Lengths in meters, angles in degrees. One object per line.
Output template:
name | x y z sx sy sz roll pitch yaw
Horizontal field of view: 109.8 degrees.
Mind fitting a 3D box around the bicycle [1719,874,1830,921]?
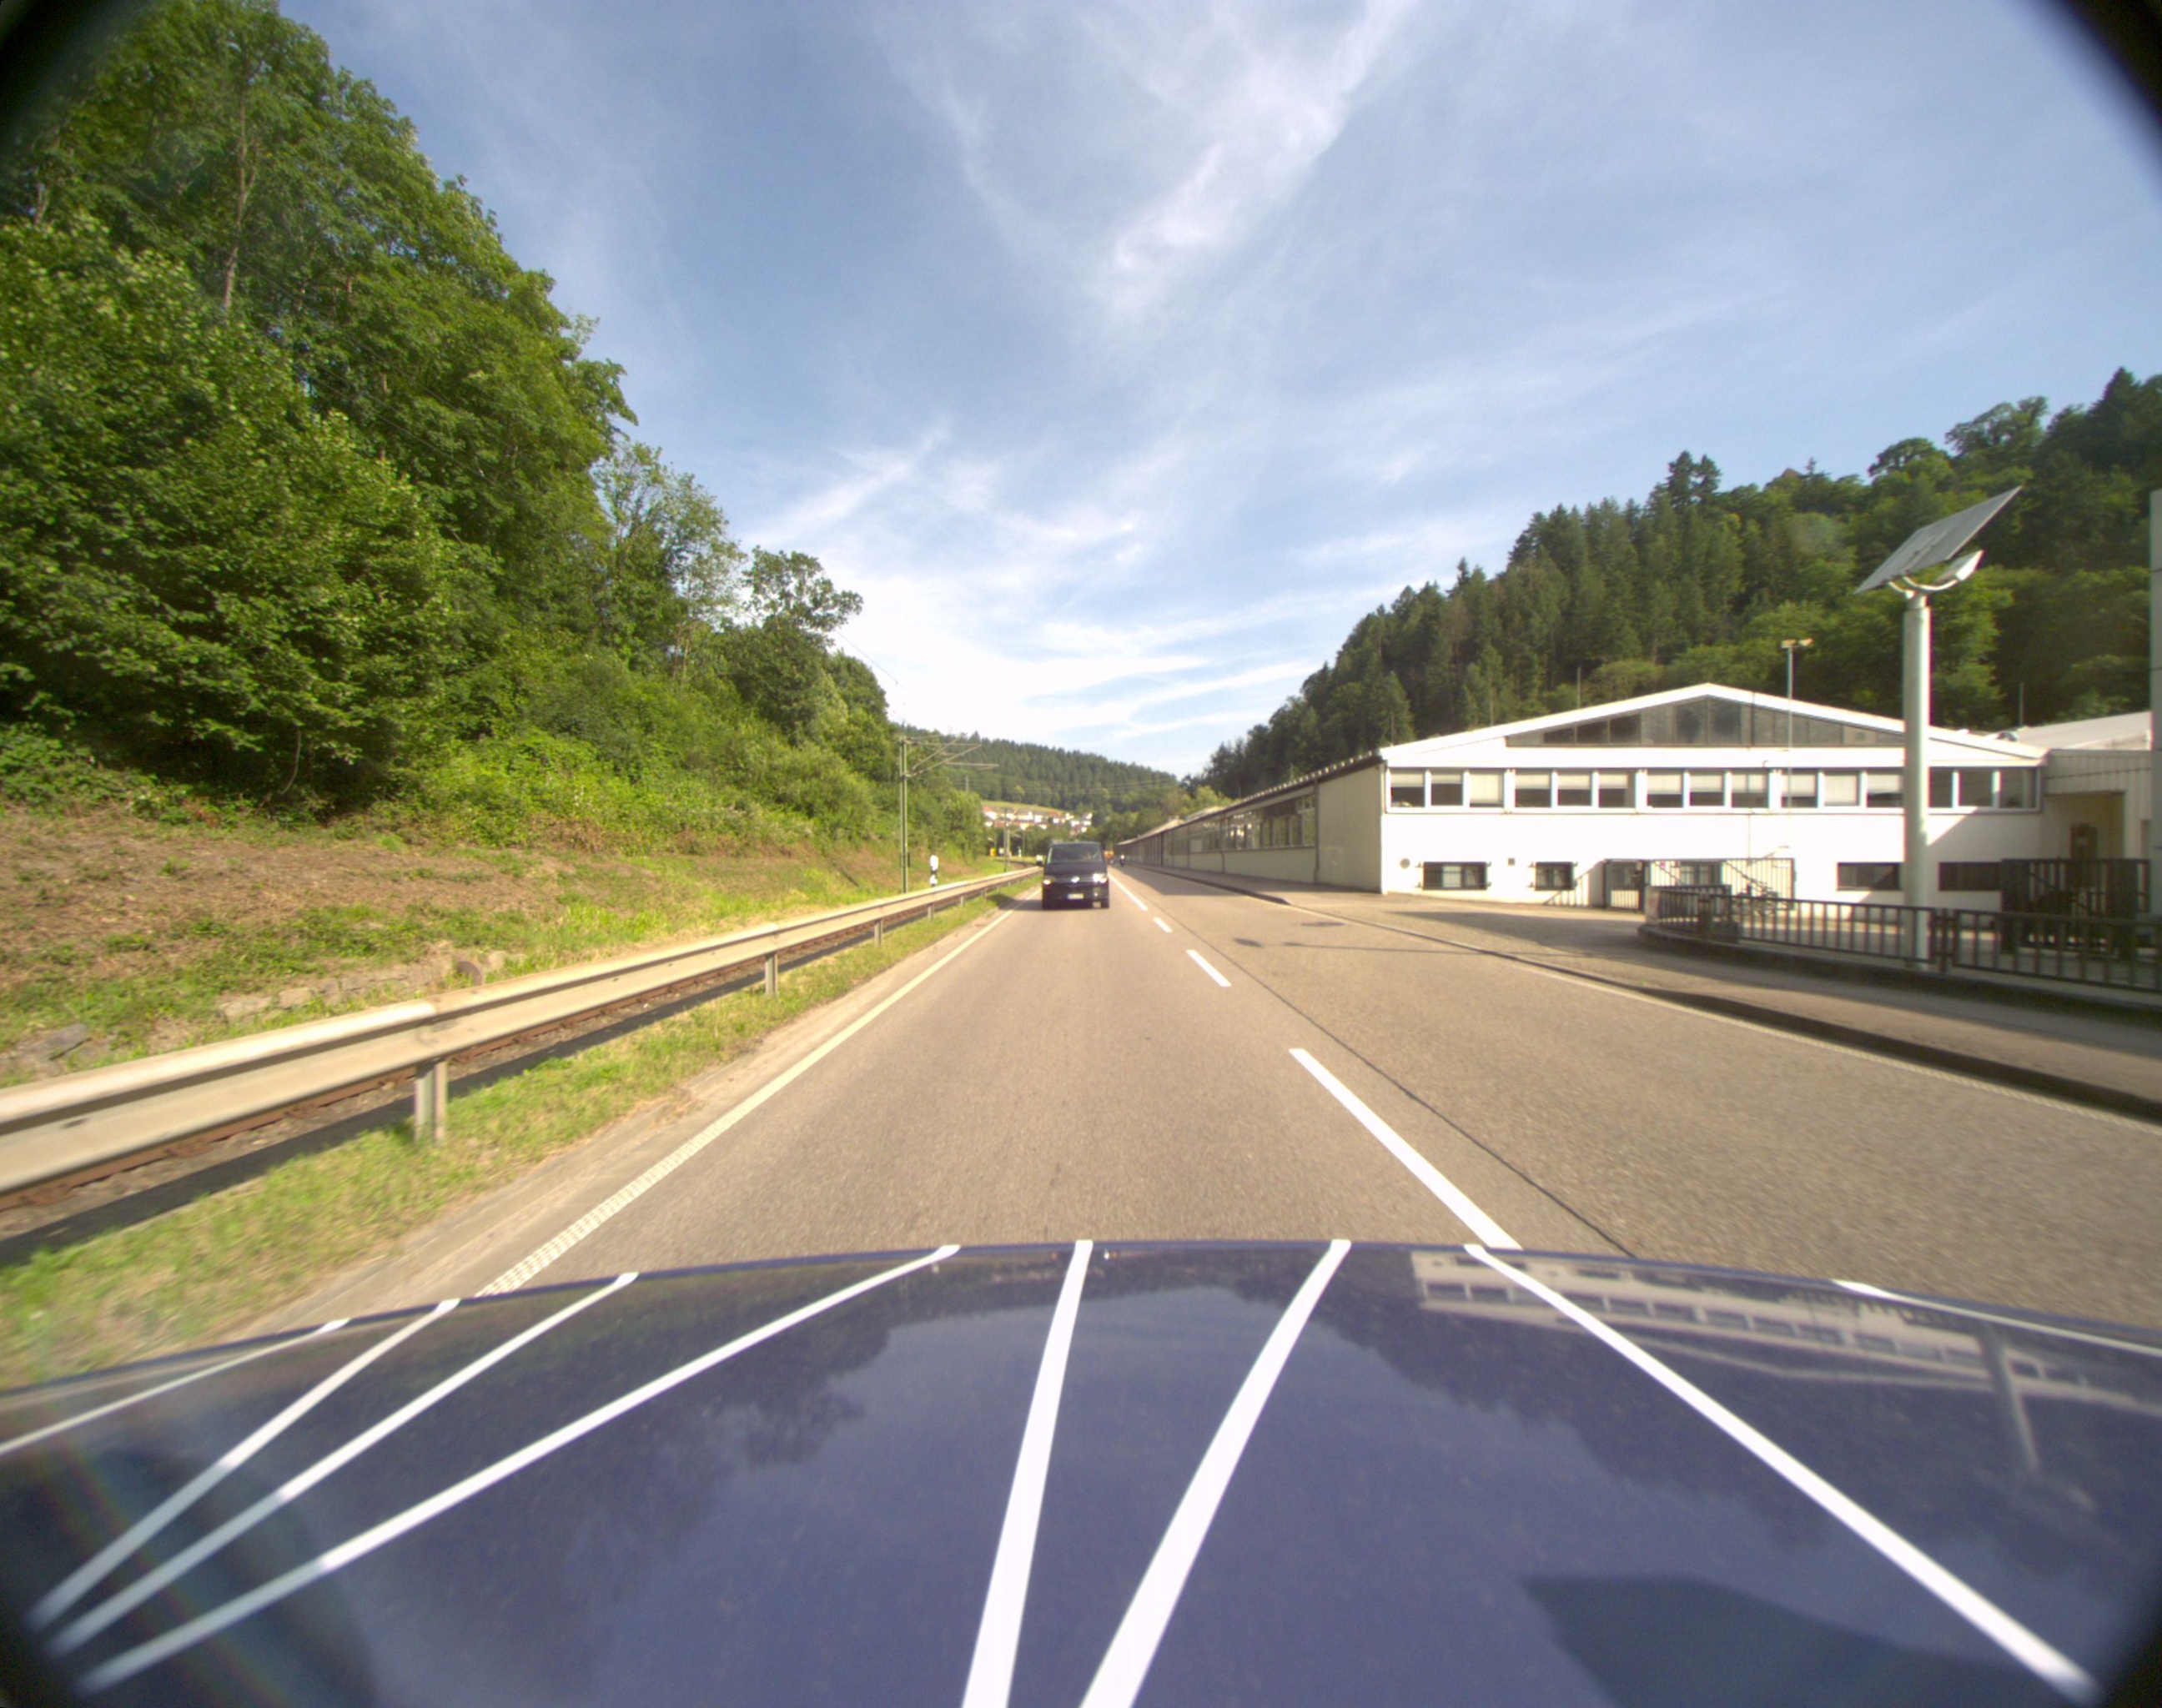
bicycle | 20.480 1.275 22.468 2.499 1.253 1.041 2 1 -8

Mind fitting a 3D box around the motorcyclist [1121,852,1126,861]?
motorcyclist | 5.167 0.348 92.906 0.587 1.118 0.636 -1 1 0

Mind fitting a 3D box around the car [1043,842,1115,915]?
car | -0.169 0.642 23.069 1.901 1.927 5.187 -1 0 -2

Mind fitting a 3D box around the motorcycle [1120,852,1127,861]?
motorcycle | 5.167 0.251 92.627 0.743 1.062 2.492 -1 0 0
